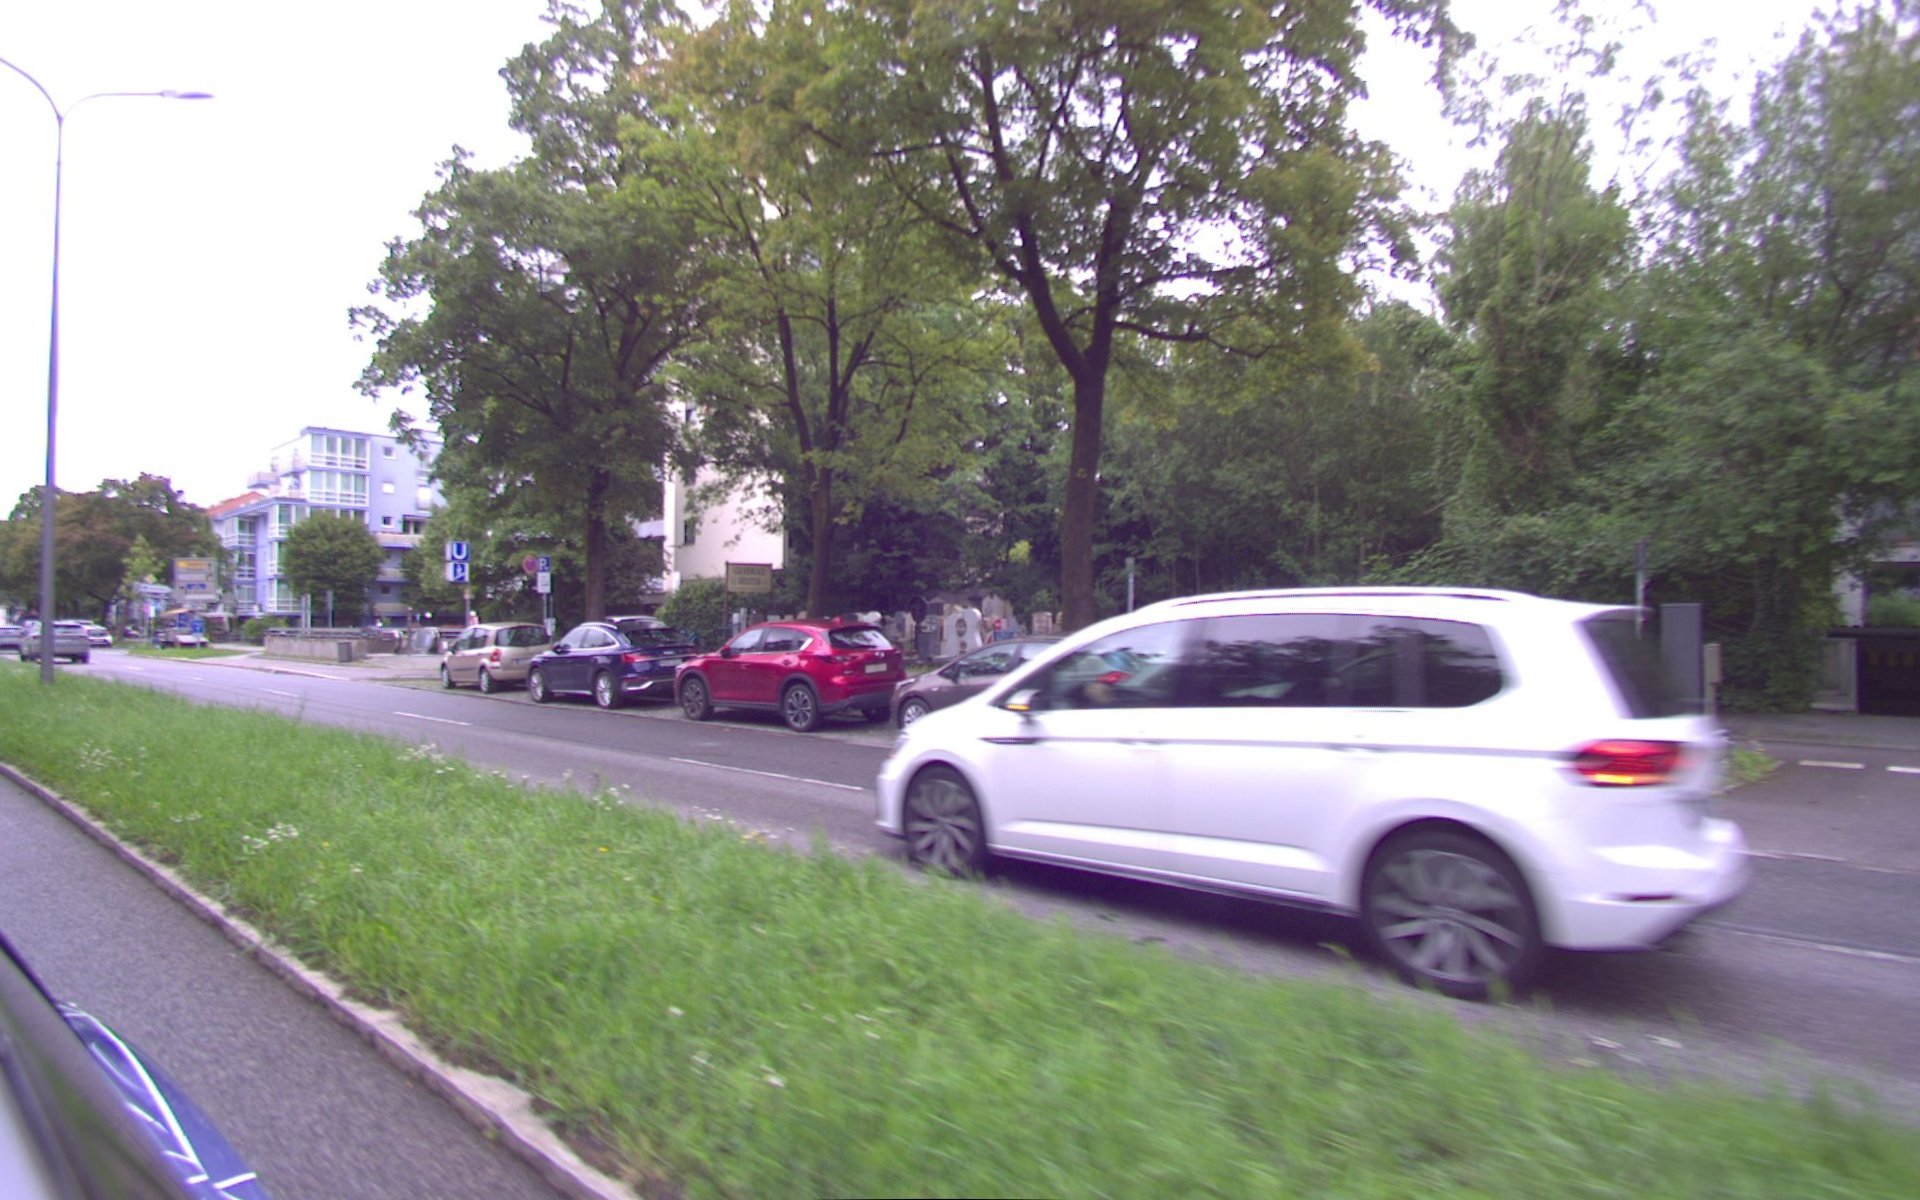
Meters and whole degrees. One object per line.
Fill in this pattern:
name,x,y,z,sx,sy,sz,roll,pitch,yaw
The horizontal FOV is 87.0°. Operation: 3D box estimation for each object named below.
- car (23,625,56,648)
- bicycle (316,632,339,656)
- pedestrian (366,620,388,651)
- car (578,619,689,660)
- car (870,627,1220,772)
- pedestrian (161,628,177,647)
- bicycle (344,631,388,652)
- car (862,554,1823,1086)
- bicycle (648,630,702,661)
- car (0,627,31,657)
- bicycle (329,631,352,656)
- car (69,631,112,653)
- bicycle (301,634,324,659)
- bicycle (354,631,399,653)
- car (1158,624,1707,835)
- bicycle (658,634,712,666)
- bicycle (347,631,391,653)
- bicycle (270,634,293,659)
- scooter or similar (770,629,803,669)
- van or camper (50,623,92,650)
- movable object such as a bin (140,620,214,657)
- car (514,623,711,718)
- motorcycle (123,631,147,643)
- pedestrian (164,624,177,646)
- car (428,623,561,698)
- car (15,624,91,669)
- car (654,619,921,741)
car,-82.567,3.275,90.728,4.546,2.013,1.777,-2,-3,43
bicycle,-28.887,2.016,46.196,1.955,1.038,0.403,-2,1,45
pedestrian,-32.767,1.977,56.897,1.129,1.721,0.662,-1,-3,36
car,-13.282,1.604,41.280,1.749,1.601,3.943,-2,-3,43
car,0.954,1.134,13.022,4.333,1.494,1.720,-2,0,43
pedestrian,-70.177,3.341,89.805,0.959,1.615,0.769,2,-3,-31
bicycle,-31.666,2.226,53.978,1.925,1.112,0.560,2,-3,-45
car,1.631,0.752,5.308,4.349,1.655,1.814,-2,-3,42
bicycle,-9.450,1.492,33.593,0.436,1.014,1.743,-2,-3,42
car,-49.670,2.146,52.337,4.864,1.496,1.894,-2,-3,42
bicycle,-28.595,1.985,46.708,1.955,1.112,0.403,-2,1,45
car,-60.444,2.931,70.343,3.899,1.501,1.630,-1,-3,40
bicycle,-29.262,2.074,45.757,1.955,1.080,0.403,-2,1,45
bicycle,-30.122,2.154,52.285,1.925,1.112,0.489,2,-3,-45
car,4.320,1.034,9.767,4.475,1.541,1.720,-2,-1,43
bicycle,-9.009,1.629,33.192,0.436,1.014,1.743,-2,-3,42
bicycle,-31.264,2.208,53.548,1.925,1.112,0.560,2,-3,-45
bicycle,-30.078,2.046,44.861,1.955,1.086,0.403,-2,1,45
scooter or similar,-5.071,1.415,29.519,0.429,1.135,1.293,2,-3,-35
van or camper,-67.922,2.770,77.301,5.209,1.983,1.785,-2,-3,42
movable object such as a bin,-42.768,2.101,55.233,3.992,1.968,2.173,-1,-3,37
car,-7.059,1.313,20.275,4.684,1.656,1.720,-2,-1,43
motorcycle,-84.310,3.780,103.451,0.463,1.179,1.791,-1,-2,37
pedestrian,-64.076,2.843,82.129,0.633,1.819,0.782,2,-3,-30
car,-11.234,1.379,24.293,3.820,1.626,1.629,-2,-1,44
car,-35.129,1.766,39.167,4.376,1.637,1.747,-2,-3,43
car,-2.911,1.188,16.438,4.603,1.664,1.721,-2,0,41
